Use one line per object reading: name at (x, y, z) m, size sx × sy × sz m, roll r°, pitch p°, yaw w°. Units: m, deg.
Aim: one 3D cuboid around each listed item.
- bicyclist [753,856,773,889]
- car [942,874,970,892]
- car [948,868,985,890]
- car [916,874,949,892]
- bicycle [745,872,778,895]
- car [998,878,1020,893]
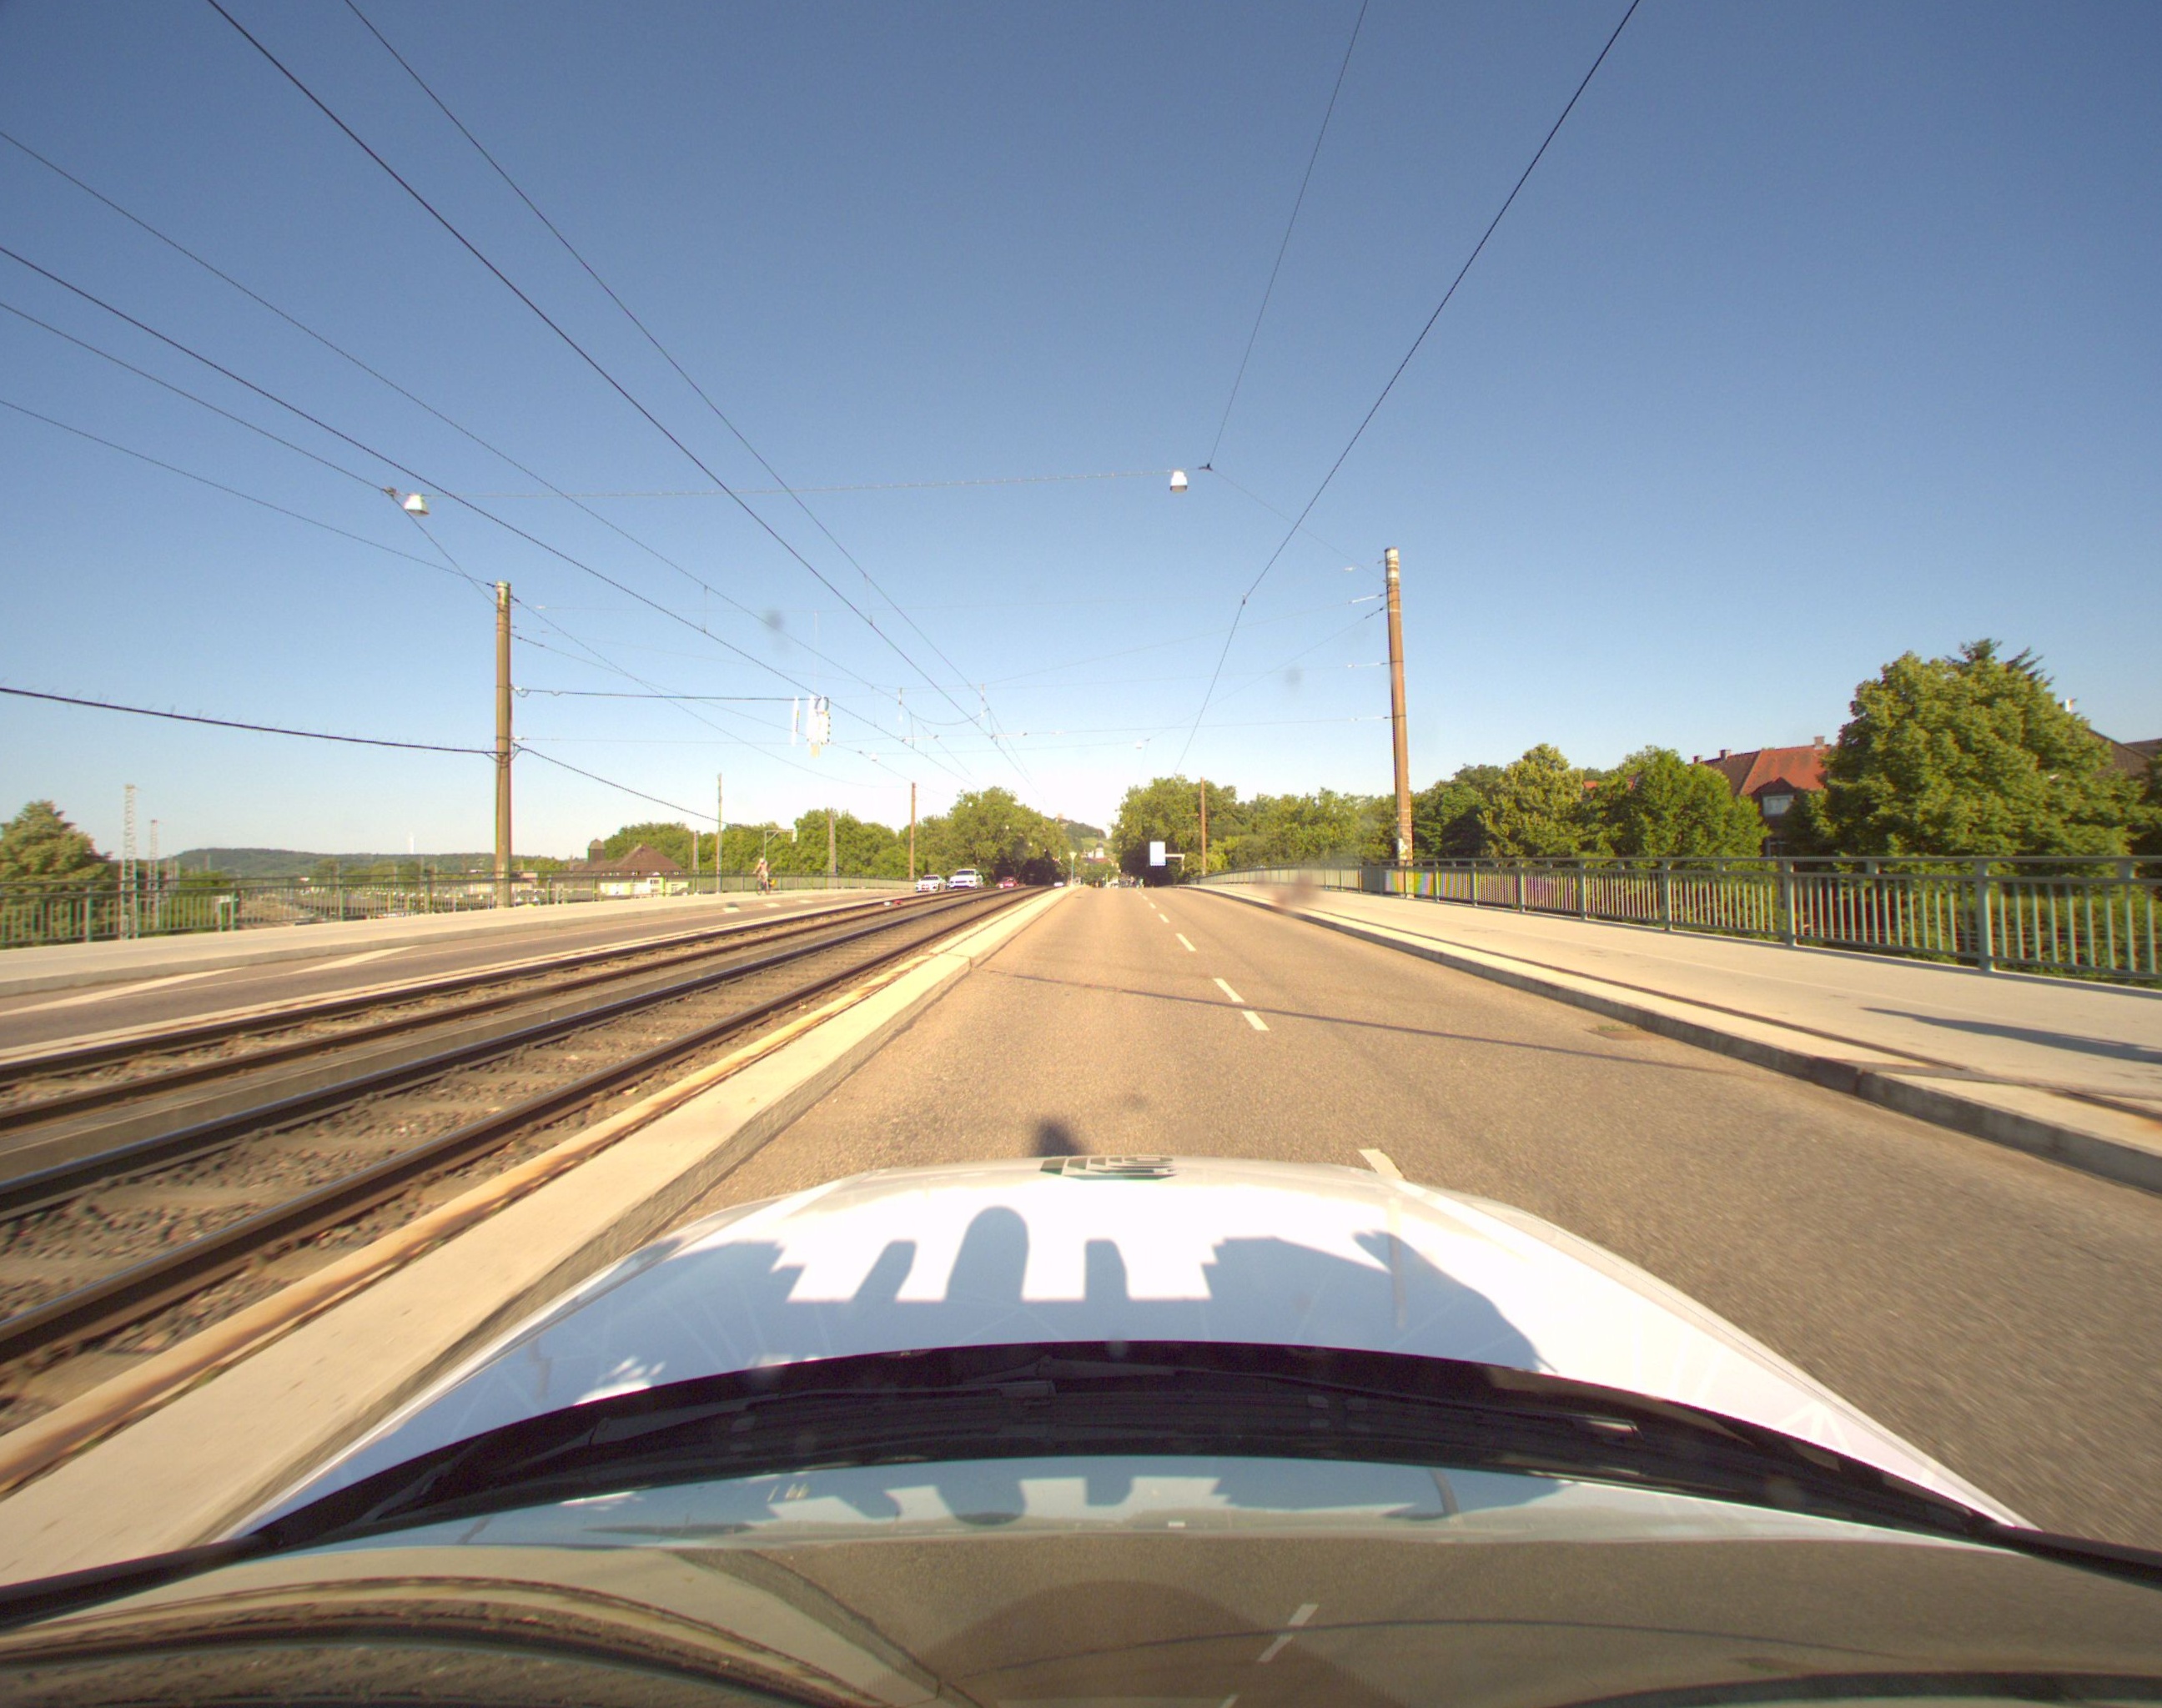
bicyclist at (-16.027, 0.939, 41.044) m, size 0.622 × 1.633 × 0.936 m, roll 0°, pitch -2°, yaw 3°
car at (-11.899, 2.752, 77.643) m, size 1.772 × 1.650 × 4.448 m, roll 0°, pitch -1°, yaw 2°
car at (-8.753, 1.875, 62.622) m, size 1.993 × 1.637 × 5.092 m, roll 0°, pitch -1°, yaw 2°
car at (-12.057, 2.348, 66.344) m, size 1.677 × 1.356 × 4.922 m, roll 0°, pitch -1°, yaw 2°
bicycle at (-16.032, 1.459, 40.914) m, size 0.622 × 1.122 × 2.261 m, roll 0°, pitch -1°, yaw 3°
car at (-7.707, 3.450, 87.527) m, size 1.801 × 1.520 × 4.001 m, roll 0°, pitch -3°, yaw 2°
